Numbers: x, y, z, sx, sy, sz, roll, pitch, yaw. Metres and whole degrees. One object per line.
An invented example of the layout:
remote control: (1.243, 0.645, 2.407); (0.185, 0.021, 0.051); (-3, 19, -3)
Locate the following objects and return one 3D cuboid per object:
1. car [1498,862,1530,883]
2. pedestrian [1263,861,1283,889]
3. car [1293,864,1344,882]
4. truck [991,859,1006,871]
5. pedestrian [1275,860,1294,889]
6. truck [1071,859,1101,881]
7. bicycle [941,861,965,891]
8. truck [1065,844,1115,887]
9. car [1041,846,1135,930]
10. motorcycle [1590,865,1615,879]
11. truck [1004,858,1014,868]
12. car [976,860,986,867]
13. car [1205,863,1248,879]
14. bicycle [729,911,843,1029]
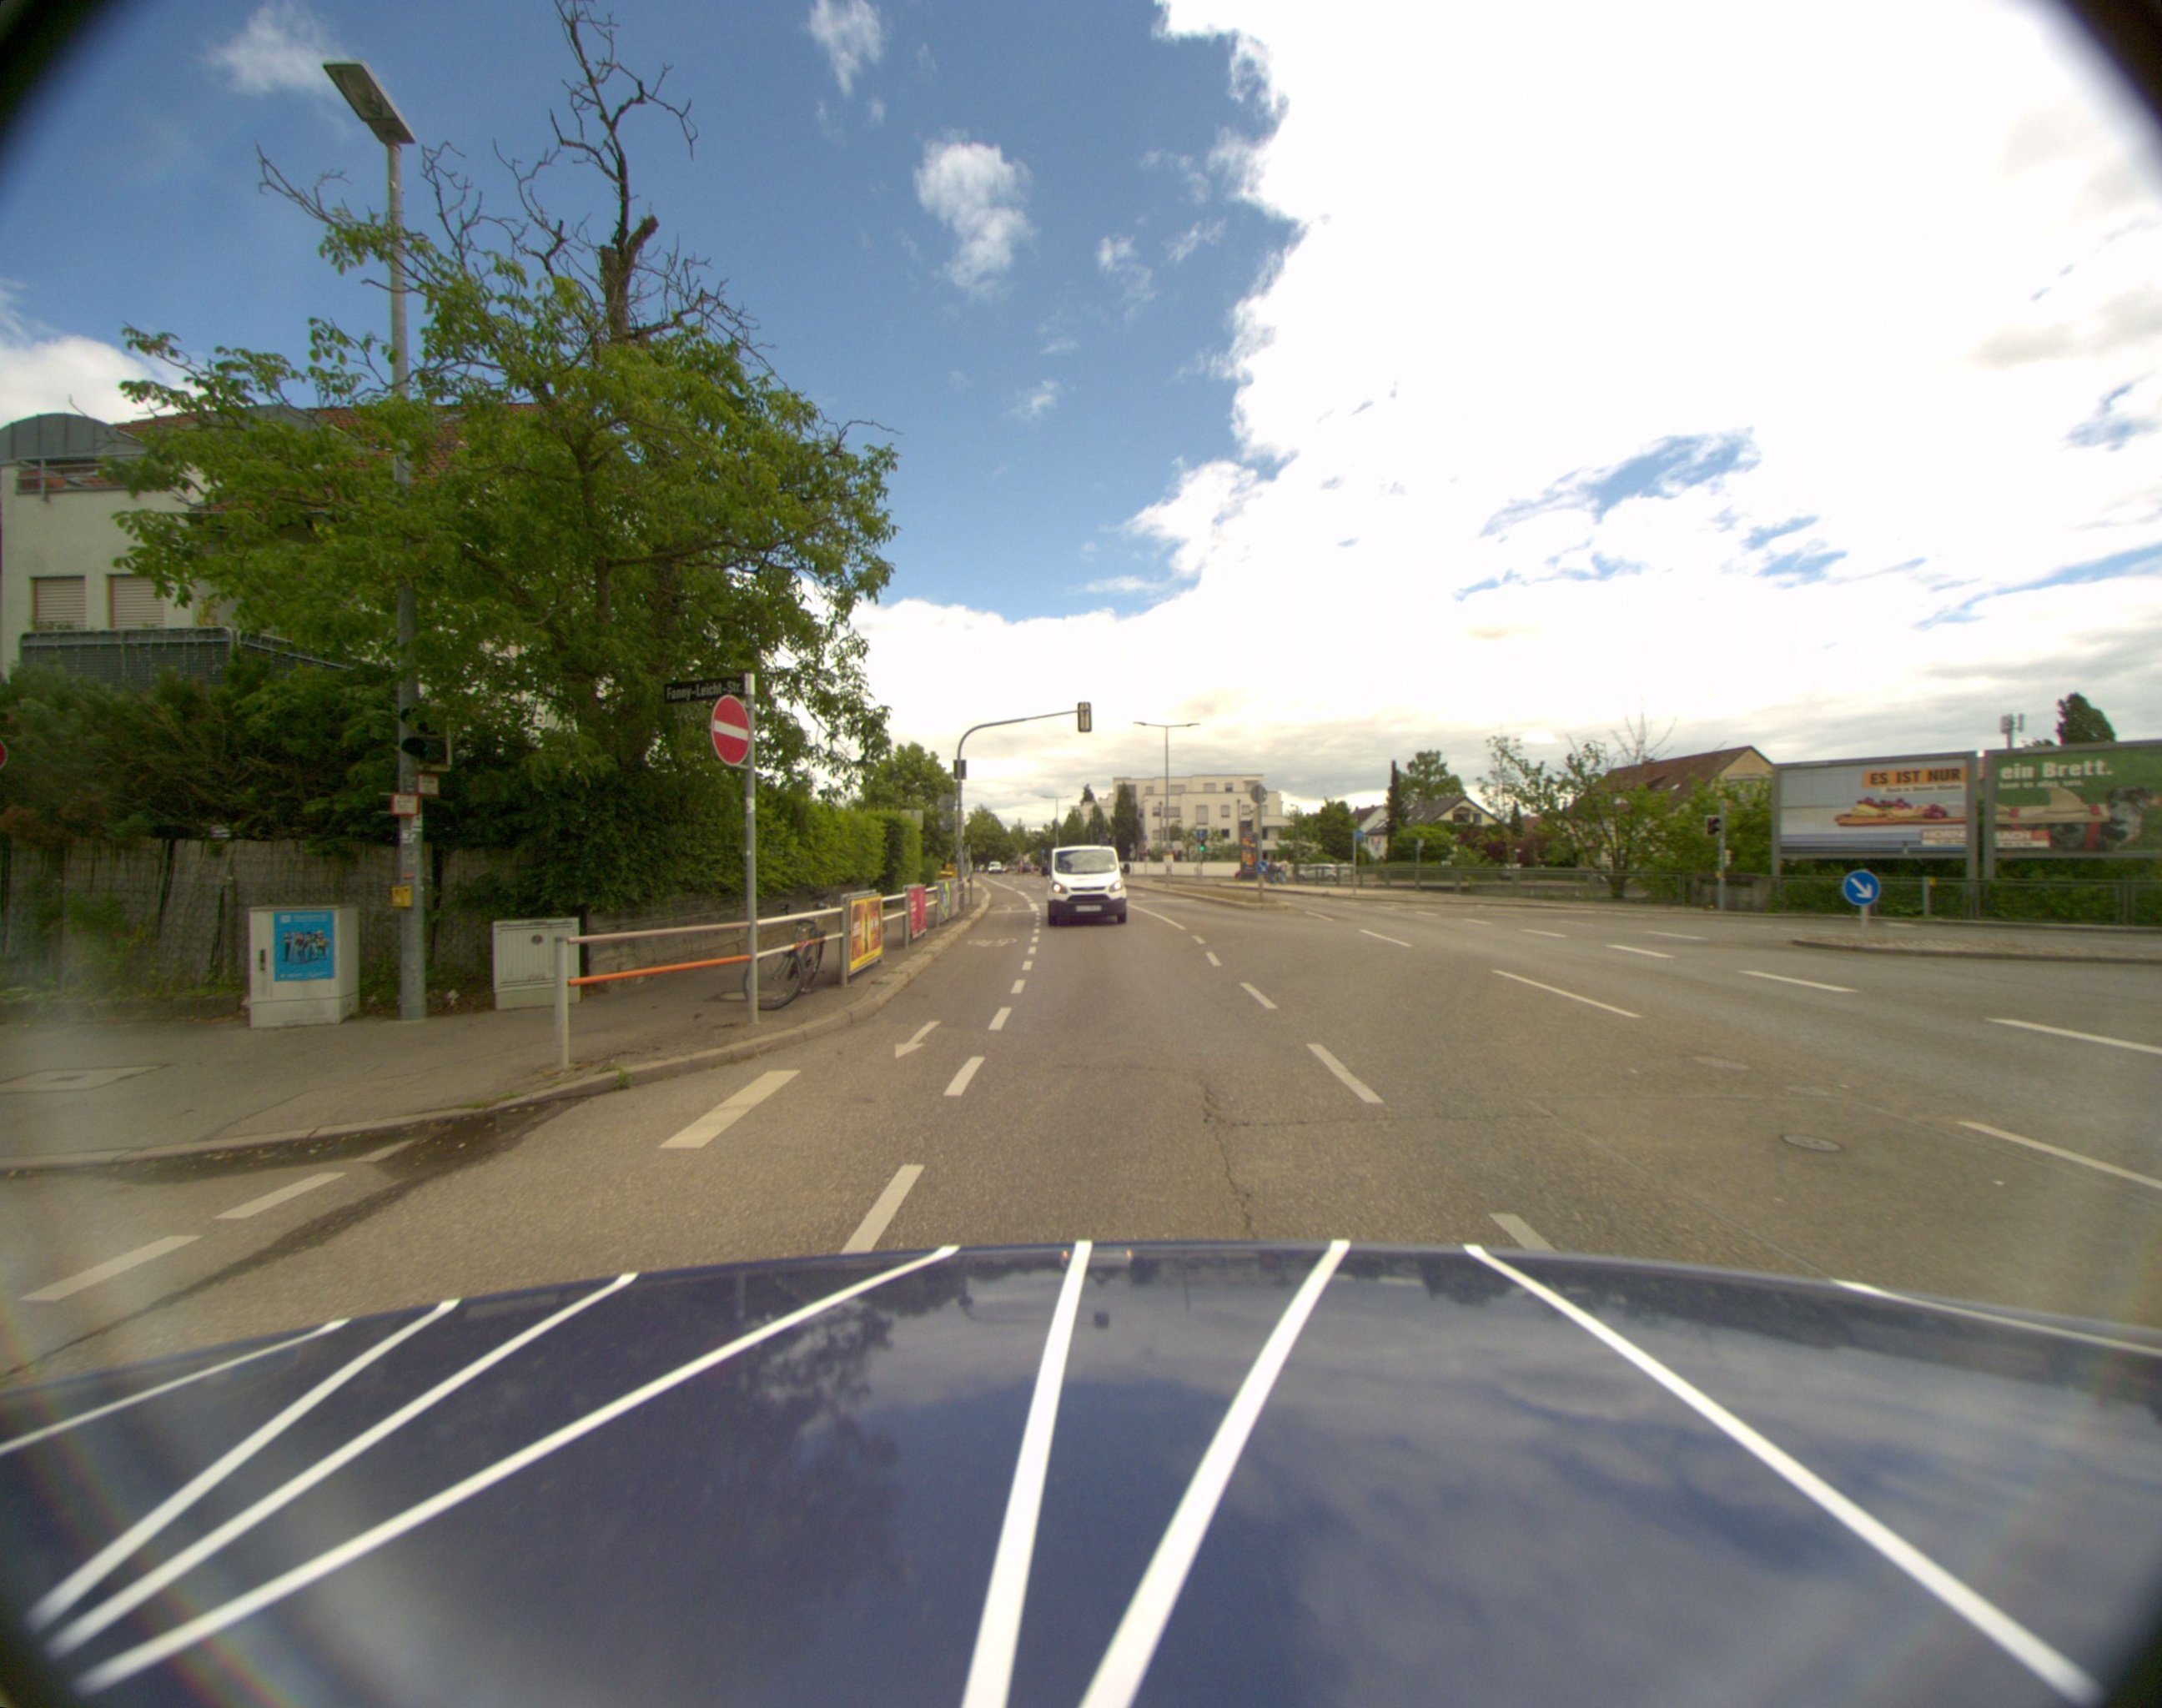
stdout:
car: (38.826, 1.674, 68.103); (1.782, 1.571, 4.007); (-4, 0, 39)
pedestrian: (11.241, 1.208, 44.438); (0.658, 1.624, 1.069); (-2, 1, -15)
car: (21.512, 1.723, 68.857); (4.117, 1.526, 1.651); (1, 0, 36)
truck: (-11.813, 1.587, 108.840); (1.615, 1.780, 4.000); (0, 0, 1)
pedestrian: (11.946, 1.199, 44.625); (0.658, 1.624, 0.832); (-2, 1, -15)
truck: (0.498, 1.654, 81.592); (2.132, 2.251, 6.800); (0, 0, -9)
bicycle: (-6.807, 1.168, 40.458); (0.894, 1.501, 2.782); (3, -1, -4)
truck: (0.501, 0.726, 49.236); (2.038, 2.555, 6.052); (0, 0, -11)
car: (0.036, 0.824, 20.770); (2.076, 1.956, 5.555); (-1, 0, -4)
motorcycle: (40.928, 1.442, 59.666); (0.702, 0.993, 2.123); (4, 1, 10)
truck: (-12.746, 1.560, 134.732); (1.619, 1.649, 3.999); (0, 0, -3)
car: (-18.548, 1.785, 140.598); (1.562, 1.343, 3.539); (1, -1, -4)
car: (14.229, 1.629, 74.164); (3.692, 1.438, 1.779); (1, 1, 34)
bicycle: (-3.100, 1.181, 8.128); (0.629, 1.022, 1.504); (-1, 0, -1)
